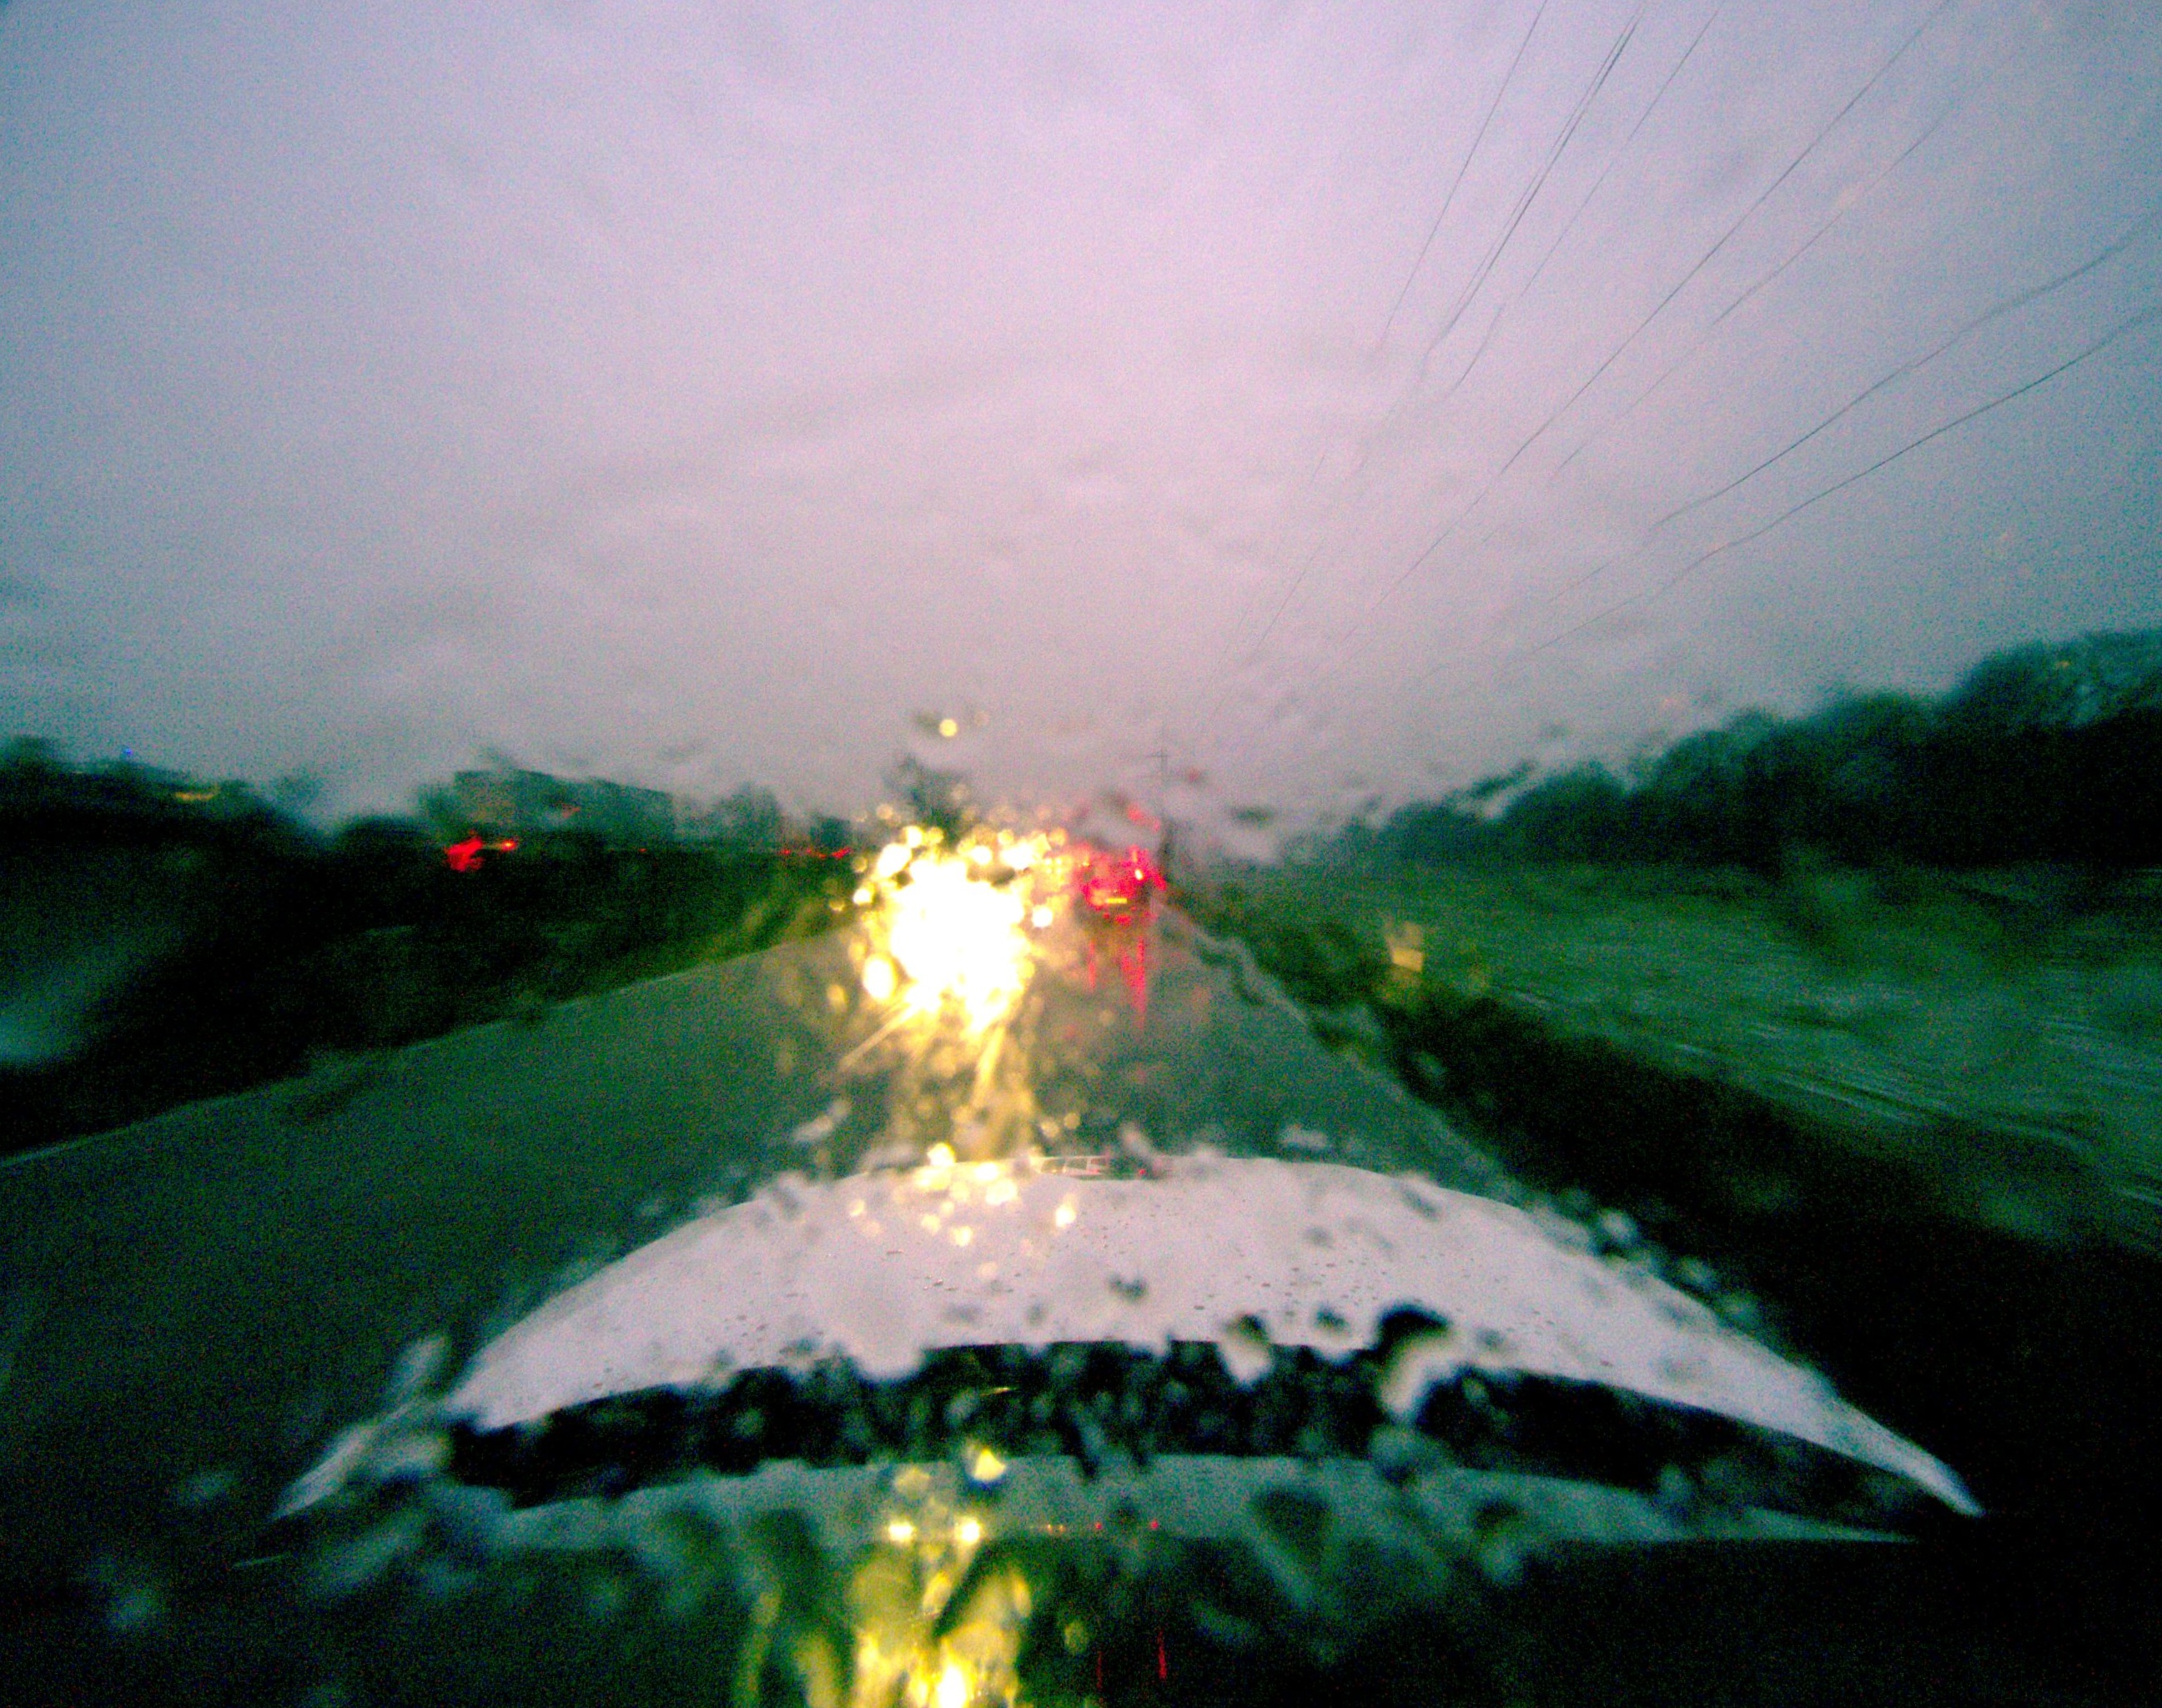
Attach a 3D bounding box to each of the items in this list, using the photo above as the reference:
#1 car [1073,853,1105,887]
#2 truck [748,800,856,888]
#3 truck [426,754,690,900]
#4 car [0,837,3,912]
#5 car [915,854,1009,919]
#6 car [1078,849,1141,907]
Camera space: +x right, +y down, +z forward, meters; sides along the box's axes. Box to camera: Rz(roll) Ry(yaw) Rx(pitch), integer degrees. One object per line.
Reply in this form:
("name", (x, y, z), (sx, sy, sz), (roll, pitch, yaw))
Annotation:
("car", (0.465, 0.946, 50.420), (1.847, 2.014, 3.998), (-1, -1, -1))
("truck", (-30.274, -0.684, 92.246), (7.552, 7.713, 39.963), (0, -1, -13))
("truck", (-26.305, -1.099, 42.938), (3.752, 6.288, 15.734), (-1, -1, 0))
("car", (-30.298, 0.548, 19.527), (1.986, 2.014, 5.106), (-1, -1, 2))
("car", (-3.121, 0.799, 22.238), (1.779, 1.591, 4.488), (-1, 0, 1))
("car", (0.691, 0.596, 21.305), (1.496, 1.398, 3.198), (-1, -1, -1))
